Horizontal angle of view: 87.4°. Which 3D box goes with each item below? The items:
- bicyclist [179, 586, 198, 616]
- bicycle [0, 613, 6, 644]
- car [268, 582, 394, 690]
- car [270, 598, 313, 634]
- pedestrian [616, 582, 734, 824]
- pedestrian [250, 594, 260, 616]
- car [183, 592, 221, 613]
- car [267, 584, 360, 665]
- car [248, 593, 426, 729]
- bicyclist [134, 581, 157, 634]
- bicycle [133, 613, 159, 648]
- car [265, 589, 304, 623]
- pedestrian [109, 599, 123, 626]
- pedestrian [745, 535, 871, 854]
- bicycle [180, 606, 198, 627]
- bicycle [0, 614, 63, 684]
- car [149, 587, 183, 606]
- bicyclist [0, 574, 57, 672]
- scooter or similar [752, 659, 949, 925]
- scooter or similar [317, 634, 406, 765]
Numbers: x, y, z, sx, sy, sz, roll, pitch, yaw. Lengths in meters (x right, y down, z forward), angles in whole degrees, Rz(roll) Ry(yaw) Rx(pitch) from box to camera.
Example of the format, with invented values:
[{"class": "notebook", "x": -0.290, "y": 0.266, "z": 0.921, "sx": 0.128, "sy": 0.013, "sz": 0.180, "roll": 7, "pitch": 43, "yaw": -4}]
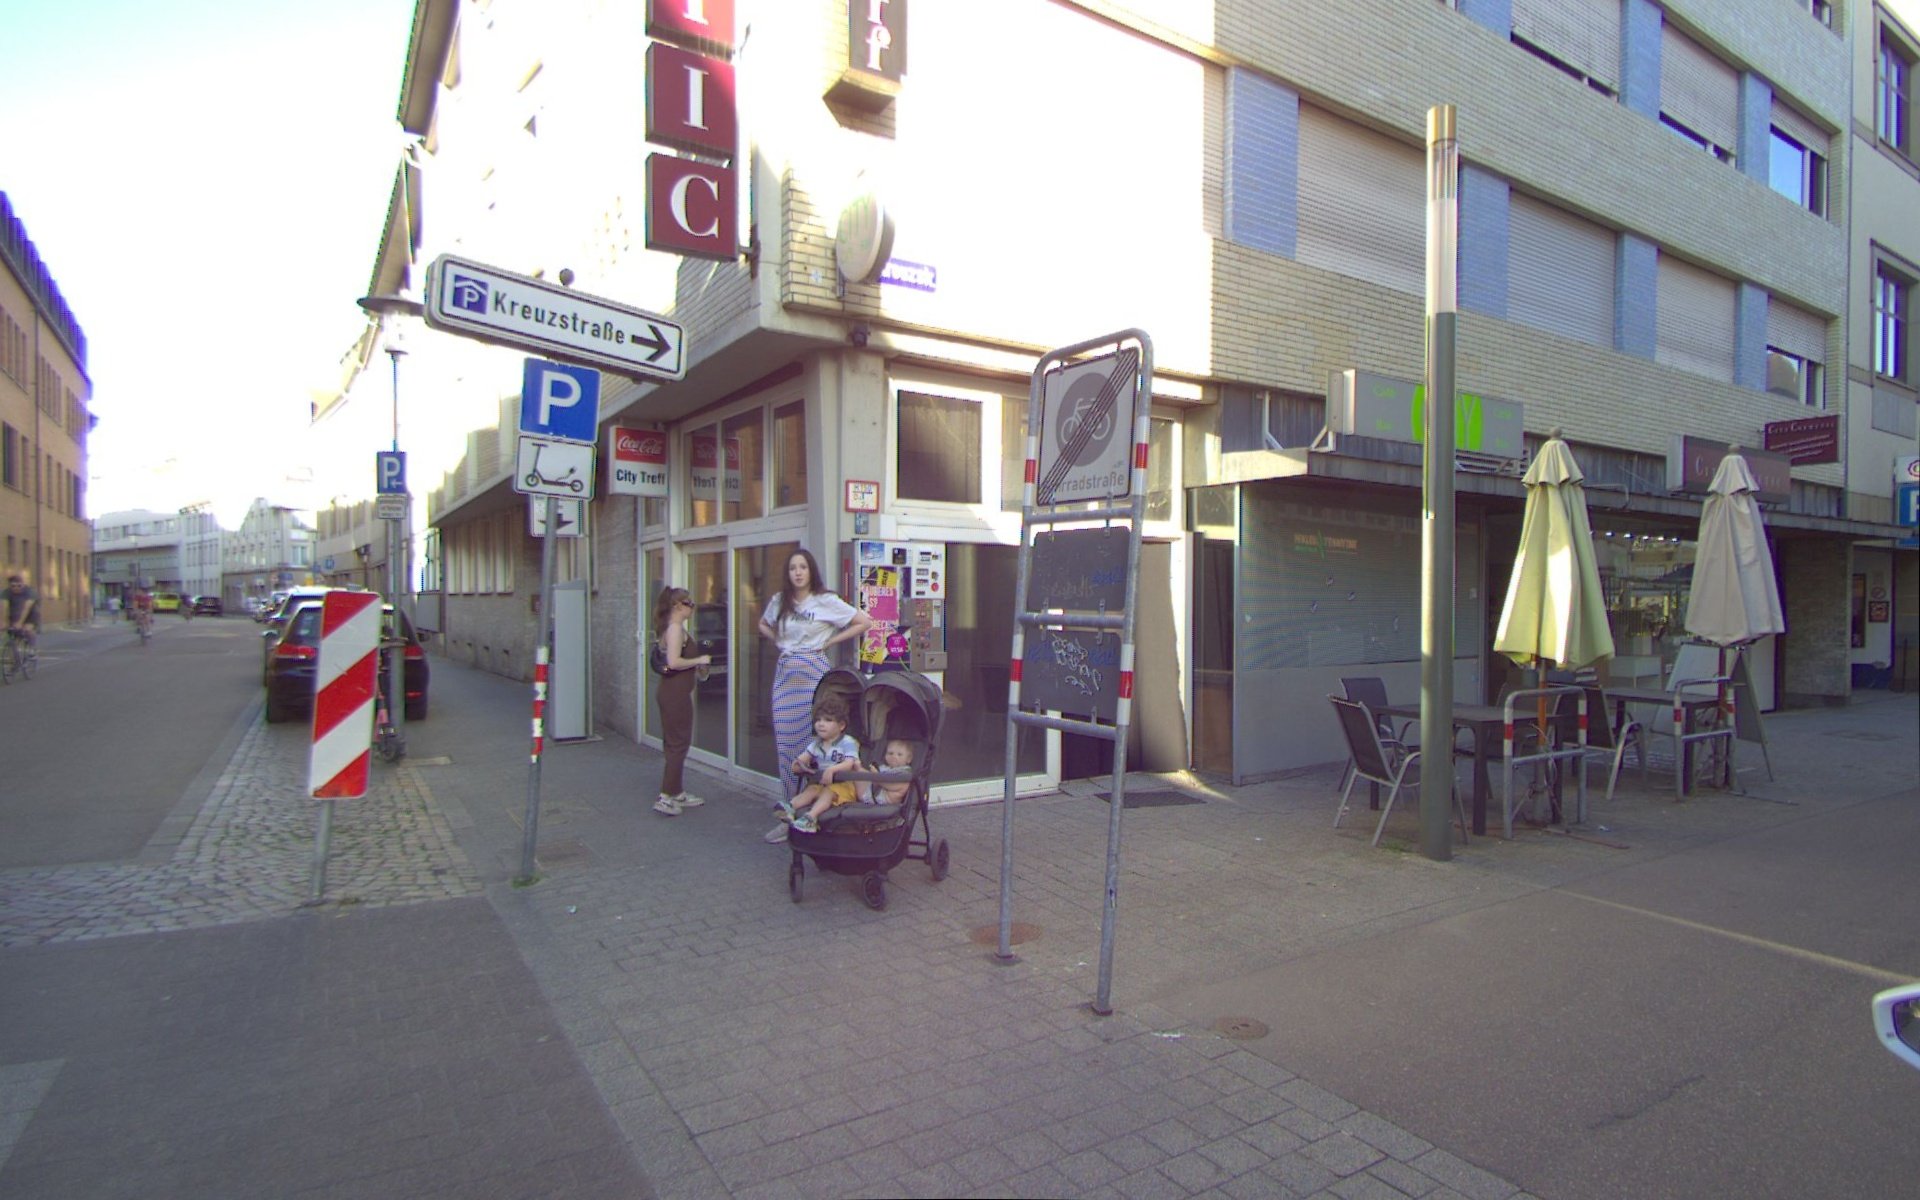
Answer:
[{"class": "bicyclist", "x": -43.927, "y": 0.075, "z": 57.196, "sx": 0.766, "sy": 1.678, "sz": 0.946, "roll": -3, "pitch": 2, "yaw": -39}, {"class": "bicycle", "x": -27.437, "y": 0.822, "z": 28.150, "sx": 0.637, "sy": 0.893, "sz": 2.531, "roll": 2, "pitch": -1, "yaw": -36}, {"class": "car", "x": -11.193, "y": 0.604, "z": 17.866, "sx": 1.656, "sy": 1.683, "sz": 4.044, "roll": 3, "pitch": -2, "yaw": -33}, {"class": "car", "x": -34.233, "y": 0.798, "z": 51.397, "sx": 1.677, "sy": 1.701, "sz": 3.473, "roll": 3, "pitch": -2, "yaw": -35}, {"class": "pedestrian", "x": -1.986, "y": 0.687, "z": 7.023, "sx": 0.502, "sy": 1.601, "sz": 0.532, "roll": -1, "pitch": 1, "yaw": 31}, {"class": "pedestrian", "x": -48.756, "y": 0.345, "z": 69.468, "sx": 0.567, "sy": 1.499, "sz": 0.468, "roll": 0, "pitch": 0, "yaw": -41}, {"class": "car", "x": -62.225, "y": 0.205, "z": 82.461, "sx": 3.783, "sy": 1.673, "sz": 1.924, "roll": 1, "pitch": 0, "yaw": 43}, {"class": "car", "x": -15.330, "y": 0.557, "z": 23.839, "sx": 1.656, "sy": 1.727, "sz": 3.976, "roll": 3, "pitch": -2, "yaw": -33}, {"class": "car", "x": -8.289, "y": 0.718, "z": 13.368, "sx": 1.723, "sy": 1.505, "sz": 3.776, "roll": 3, "pitch": -1, "yaw": -33}, {"class": "bicyclist", "x": -23.556, "y": 0.214, "z": 29.056, "sx": 0.424, "sy": 1.518, "sz": 0.867, "roll": -2, "pitch": 1, "yaw": -35}, {"class": "bicycle", "x": -23.566, "y": 0.864, "z": 29.085, "sx": 0.432, "sy": 0.970, "sz": 1.576, "roll": 0, "pitch": 0, "yaw": -34}, {"class": "car", "x": -37.652, "y": 0.321, "z": 55.982, "sx": 1.677, "sy": 1.798, "sz": 3.619, "roll": 3, "pitch": -2, "yaw": -35}, {"class": "pedestrian", "x": -49.275, "y": 0.712, "z": 58.629, "sx": 0.538, "sy": 1.565, "sz": 0.401, "roll": 2, "pitch": 0, "yaw": -35}, {"class": "pedestrian", "x": -0.910, "y": 0.549, "z": 6.149, "sx": 0.647, "sy": 1.844, "sz": 0.570, "roll": -2, "pitch": 1, "yaw": -3}, {"class": "bicycle", "x": -43.952, "y": 0.934, "z": 57.276, "sx": 0.699, "sy": 1.118, "sz": 1.807, "roll": -4, "pitch": 2, "yaw": -39}, {"class": "bicycle", "x": -15.745, "y": 0.804, "z": 16.887, "sx": 0.567, "sy": 1.065, "sz": 1.821, "roll": -3, "pitch": 2, "yaw": -30}, {"class": "car", "x": -73.966, "y": -0.324, "z": 93.597, "sx": 3.783, "sy": 1.673, "sz": 1.925, "roll": 1, "pitch": -1, "yaw": 43}, {"class": "bicyclist", "x": -15.735, "y": 0.371, "z": 16.787, "sx": 0.642, "sy": 1.579, "sz": 1.101, "roll": -3, "pitch": 2, "yaw": -29}, {"class": "scooter or similar", "x": -0.525, "y": 0.922, "z": 5.197, "sx": 0.783, "sy": 1.159, "sz": 0.954, "roll": 0, "pitch": 1, "yaw": 10}, {"class": "scooter or similar", "x": -5.718, "y": 0.936, "z": 9.596, "sx": 0.865, "sy": 1.199, "sz": 0.208, "roll": 0, "pitch": 0, "yaw": 17}]
